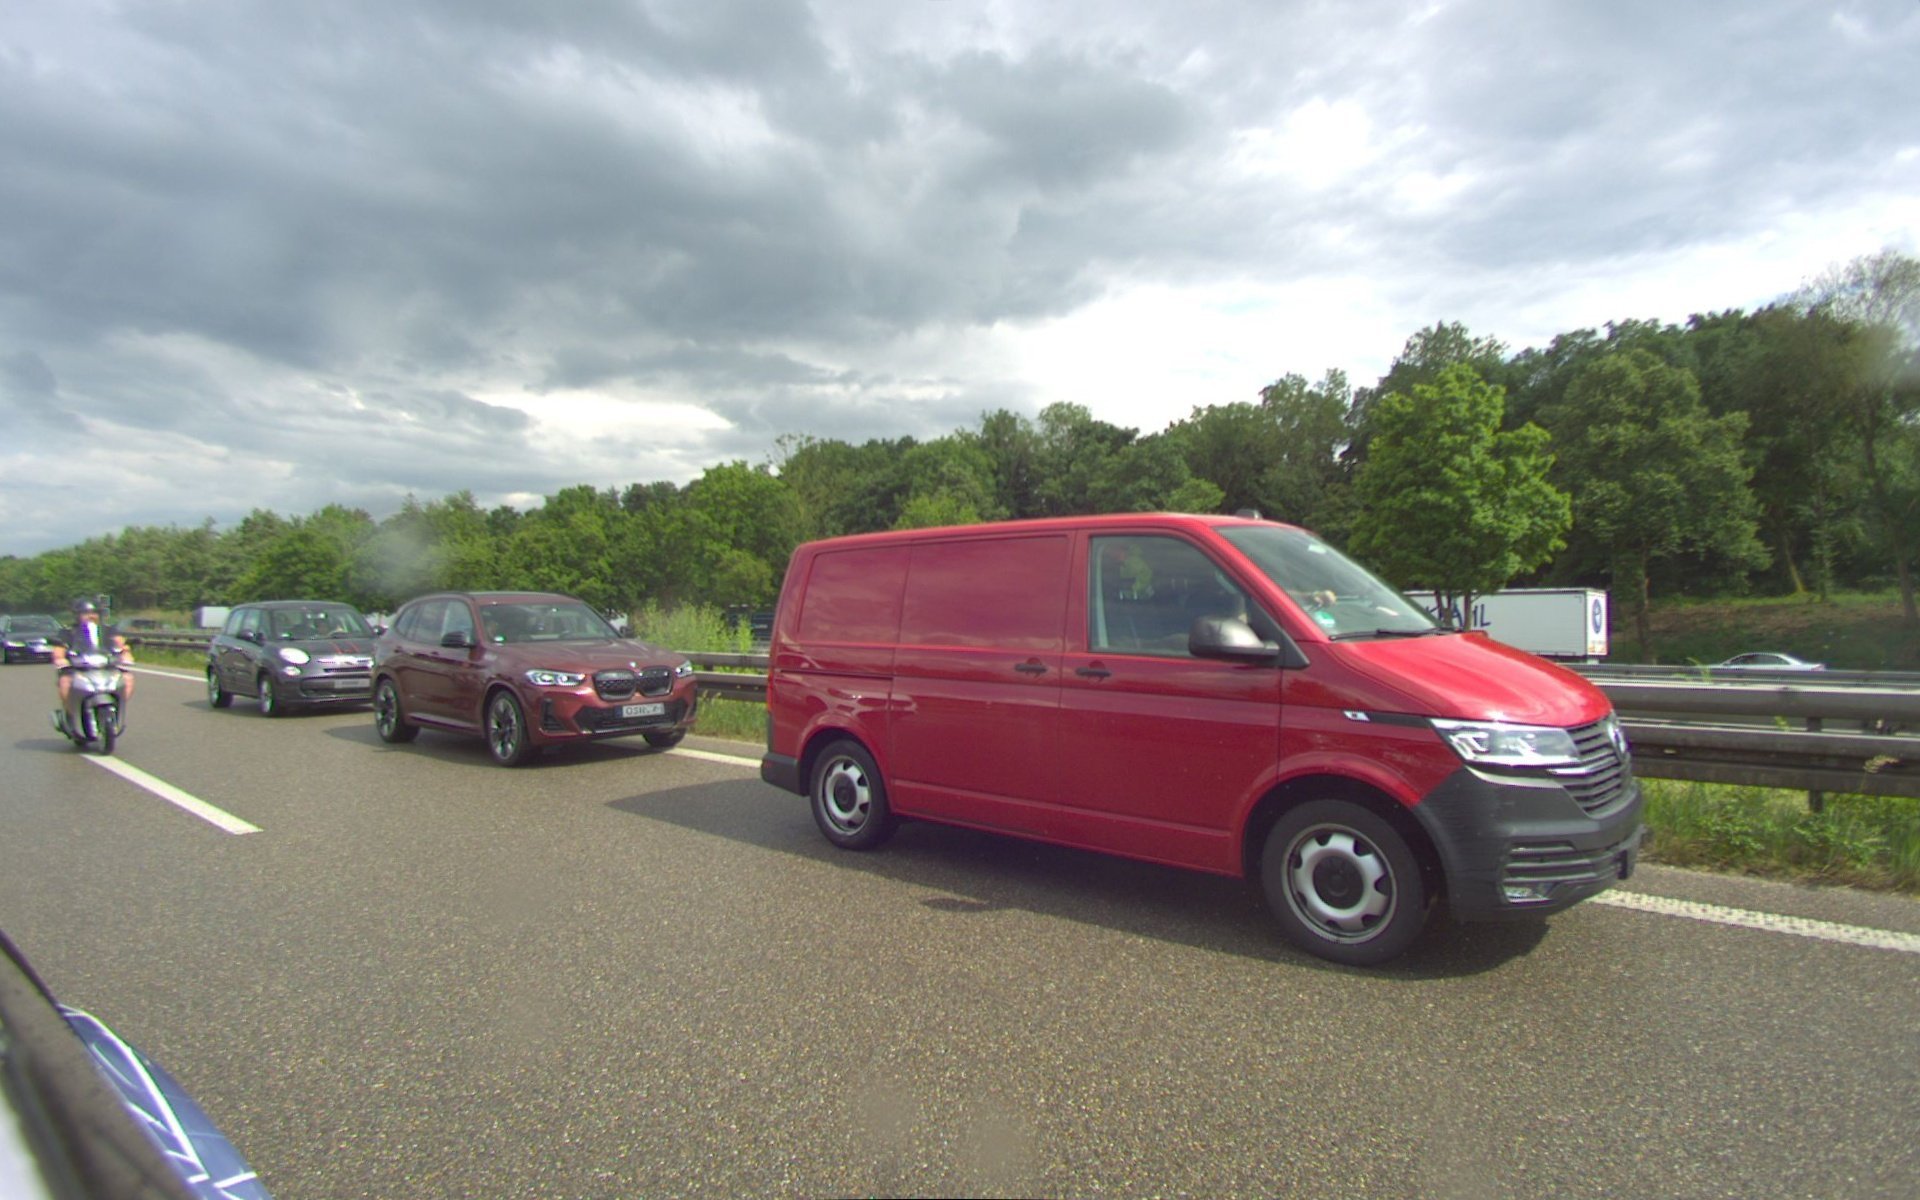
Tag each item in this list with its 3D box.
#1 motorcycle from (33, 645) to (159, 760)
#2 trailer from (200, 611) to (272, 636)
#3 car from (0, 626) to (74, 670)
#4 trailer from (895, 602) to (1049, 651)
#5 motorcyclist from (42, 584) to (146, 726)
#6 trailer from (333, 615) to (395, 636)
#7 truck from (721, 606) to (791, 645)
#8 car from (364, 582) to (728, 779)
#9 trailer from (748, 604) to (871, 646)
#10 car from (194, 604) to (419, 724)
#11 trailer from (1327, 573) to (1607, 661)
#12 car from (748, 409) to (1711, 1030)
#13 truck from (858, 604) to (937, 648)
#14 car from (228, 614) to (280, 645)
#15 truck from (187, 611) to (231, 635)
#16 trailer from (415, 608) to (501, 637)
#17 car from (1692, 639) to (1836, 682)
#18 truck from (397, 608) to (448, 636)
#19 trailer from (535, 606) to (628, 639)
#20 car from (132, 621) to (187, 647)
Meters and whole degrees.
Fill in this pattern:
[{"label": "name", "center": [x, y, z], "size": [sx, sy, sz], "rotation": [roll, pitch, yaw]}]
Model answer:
[{"label": "motorcycle", "center": [-9.389, 1.056, 10.966], "size": [1.979, 1.095, 0.669], "rotation": [-1, 0, 39]}, {"label": "trailer", "center": [-104.790, 3.331, 146.370], "size": [13.355, 3.539, 2.681], "rotation": [0, -2, 27]}, {"label": "car", "center": [-29.256, 1.477, 31.773], "size": [3.998, 1.245, 1.653], "rotation": [-1, 0, 41]}, {"label": "trailer", "center": [0.647, 1.858, 72.042], "size": [12.175, 3.217, 2.986], "rotation": [-1, -2, 43]}, {"label": "motorcyclist", "center": [-9.365, 0.566, 10.942], "size": [1.019, 1.453, 0.664], "rotation": [-1, 0, 38]}, {"label": "trailer", "center": [-77.668, 3.299, 131.834], "size": [9.841, 2.594, 2.511], "rotation": [-1, -1, 30]}, {"label": "truck", "center": [-17.962, 2.205, 88.990], "size": [6.533, 3.275, 2.548], "rotation": [-1, -2, 41]}, {"label": "car", "center": [-4.536, 0.716, 10.766], "size": [4.293, 1.682, 1.870], "rotation": [-1, -1, 41]}, {"label": "trailer", "center": [-12.722, 2.113, 84.395], "size": [12.642, 3.296, 2.577], "rotation": [-1, -2, 41]}, {"label": "car", "center": [-10.090, 0.882, 15.505], "size": [4.051, 1.578, 1.870], "rotation": [-1, -1, 41]}, {"label": "trailer", "center": [23.110, 0.832, 47.174], "size": [2.155, 3.627, 11.736], "rotation": [2, -2, -41]}, {"label": "car", "center": [1.063, 0.417, 5.543], "size": [4.748, 2.000, 1.870], "rotation": [-1, -1, 41]}, {"label": "truck", "center": [-4.813, 1.983, 77.187], "size": [5.597, 3.208, 3.009], "rotation": [-1, -2, 43]}, {"label": "car", "center": [-48.187, 1.968, 69.067], "size": [3.998, 2.029, 1.973], "rotation": [-1, 0, 41]}, {"label": "truck", "center": [-111.107, 3.391, 149.629], "size": [6.309, 3.509, 2.673], "rotation": [-1, -2, 27]}, {"label": "trailer", "center": [-60.167, 2.673, 121.079], "size": [13.377, 3.296, 3.050], "rotation": [-1, -2, 35]}, {"label": "car", "center": [30.539, 2.255, 38.523], "size": [1.871, 1.514, 4.006], "rotation": [2, -2, -41]}, {"label": "truck", "center": [-66.773, 2.741, 125.711], "size": [6.082, 3.280, 3.046], "rotation": [0, -2, 35]}, {"label": "trailer", "center": [-39.926, 2.411, 106.502], "size": [12.633, 3.296, 3.153], "rotation": [-1, -2, 39]}, {"label": "car", "center": [-45.895, 1.920, 57.982], "size": [3.998, 1.464, 1.783], "rotation": [-1, -2, 41]}]
